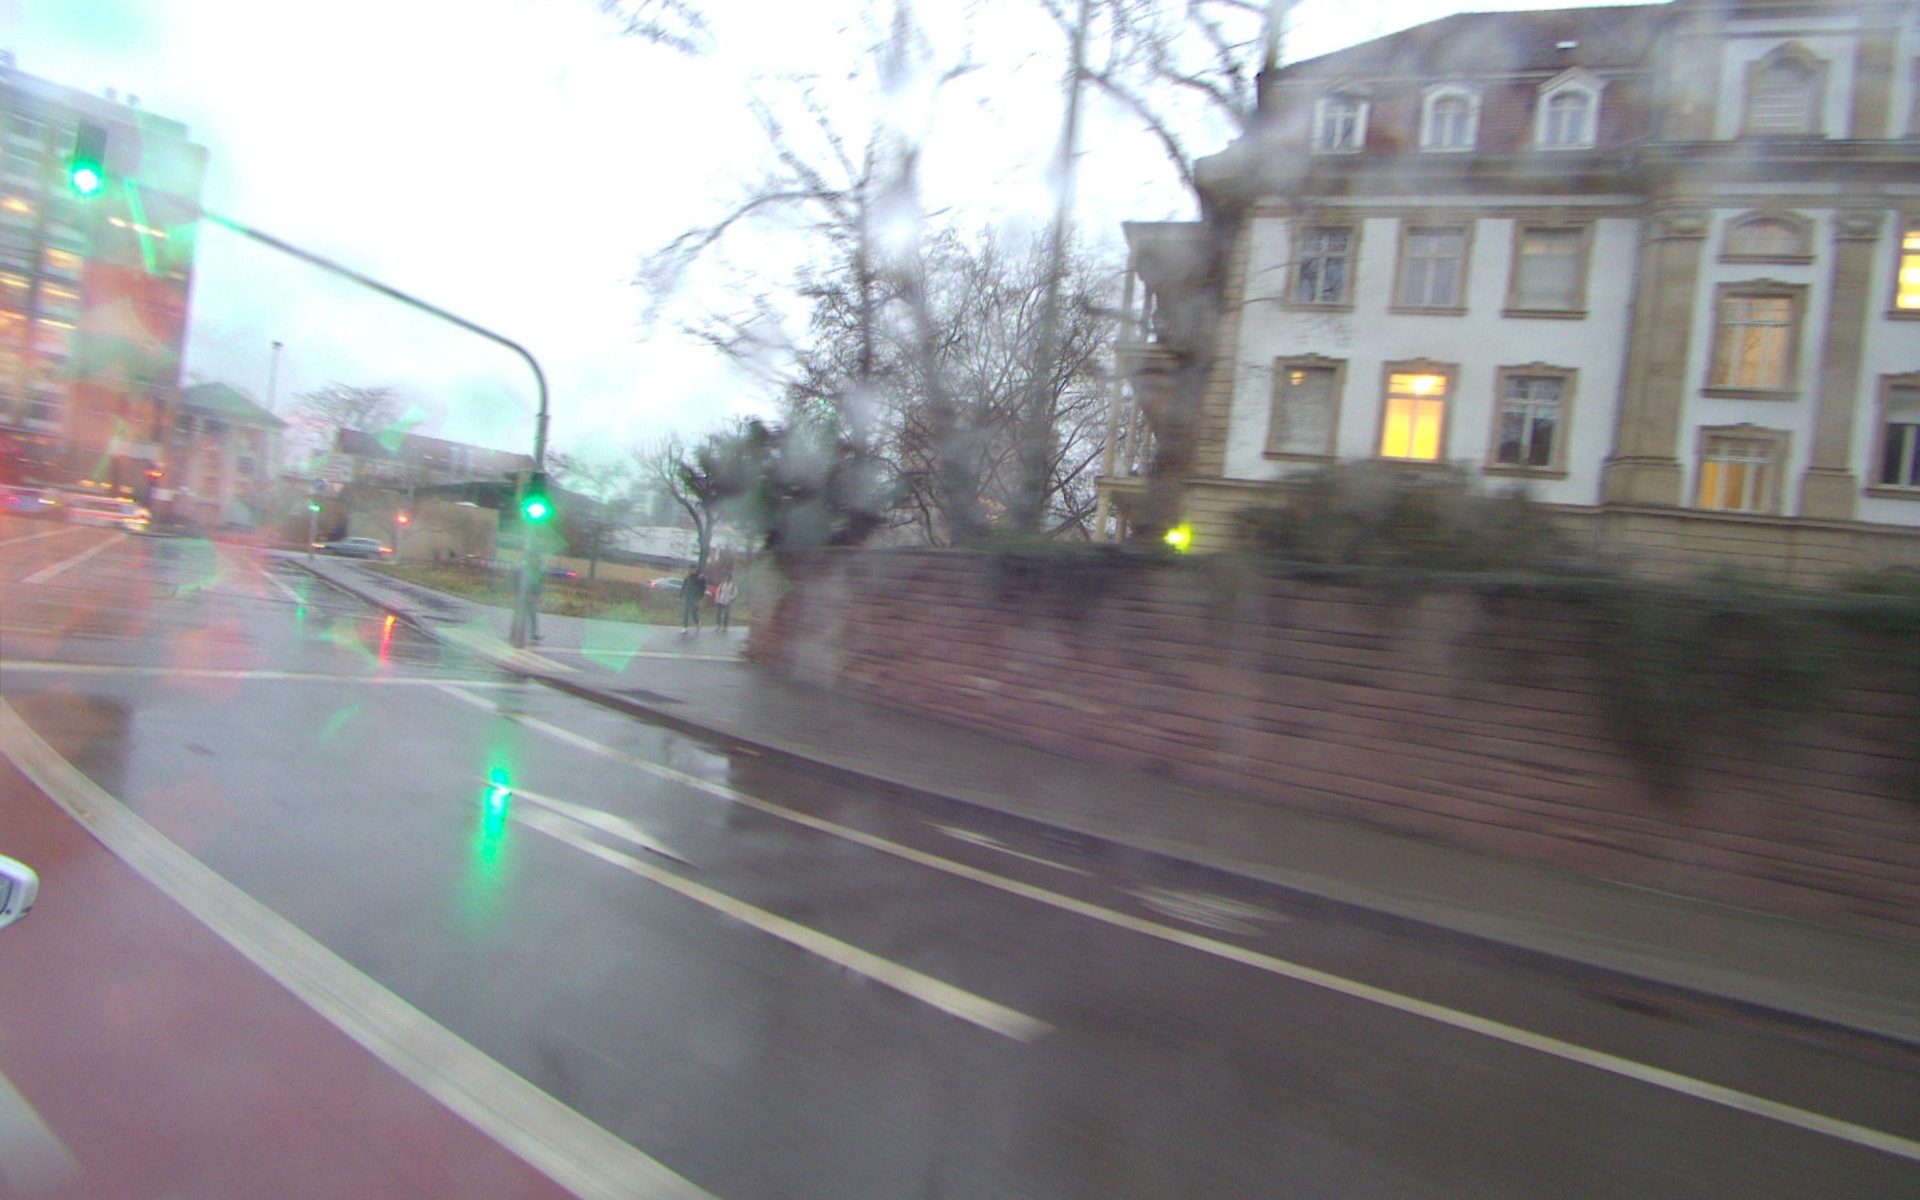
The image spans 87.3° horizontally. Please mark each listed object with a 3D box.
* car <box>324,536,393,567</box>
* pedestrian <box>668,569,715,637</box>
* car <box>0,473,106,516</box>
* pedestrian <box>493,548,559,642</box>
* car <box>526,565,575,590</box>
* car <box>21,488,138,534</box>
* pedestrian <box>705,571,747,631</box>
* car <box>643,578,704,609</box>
[{"bbox_3d":[-42.962,-3.467,71.907,3.879,1.502,1.462,9,-3,-23],"label":"car"},{"bbox_3d":[-7.131,0.085,26.742,0.719,1.696,0.789,7,1,38],"label":"pedestrian"},{"bbox_3d":[-68.463,-7.947,76.055,5.514,2.046,1.984,10,-3,-33],"label":"car"},{"bbox_3d":[-8.588,-0.109,19.883,0.800,1.706,1.144,5,2,-38],"label":"pedestrian"},{"bbox_3d":[-32.273,-1.788,79.330,3.378,1.413,1.462,9,-3,-23],"label":"car"},{"bbox_3d":[-56.693,-5.721,64.896,5.106,1.935,1.989,9,-2,-23],"label":"car"},{"bbox_3d":[-7.126,0.042,30.674,0.765,1.696,0.962,6,1,13],"label":"pedestrian"},{"bbox_3d":[-20.204,-0.453,70.940,3.614,1.669,1.873,10,-4,-35],"label":"car"}]
